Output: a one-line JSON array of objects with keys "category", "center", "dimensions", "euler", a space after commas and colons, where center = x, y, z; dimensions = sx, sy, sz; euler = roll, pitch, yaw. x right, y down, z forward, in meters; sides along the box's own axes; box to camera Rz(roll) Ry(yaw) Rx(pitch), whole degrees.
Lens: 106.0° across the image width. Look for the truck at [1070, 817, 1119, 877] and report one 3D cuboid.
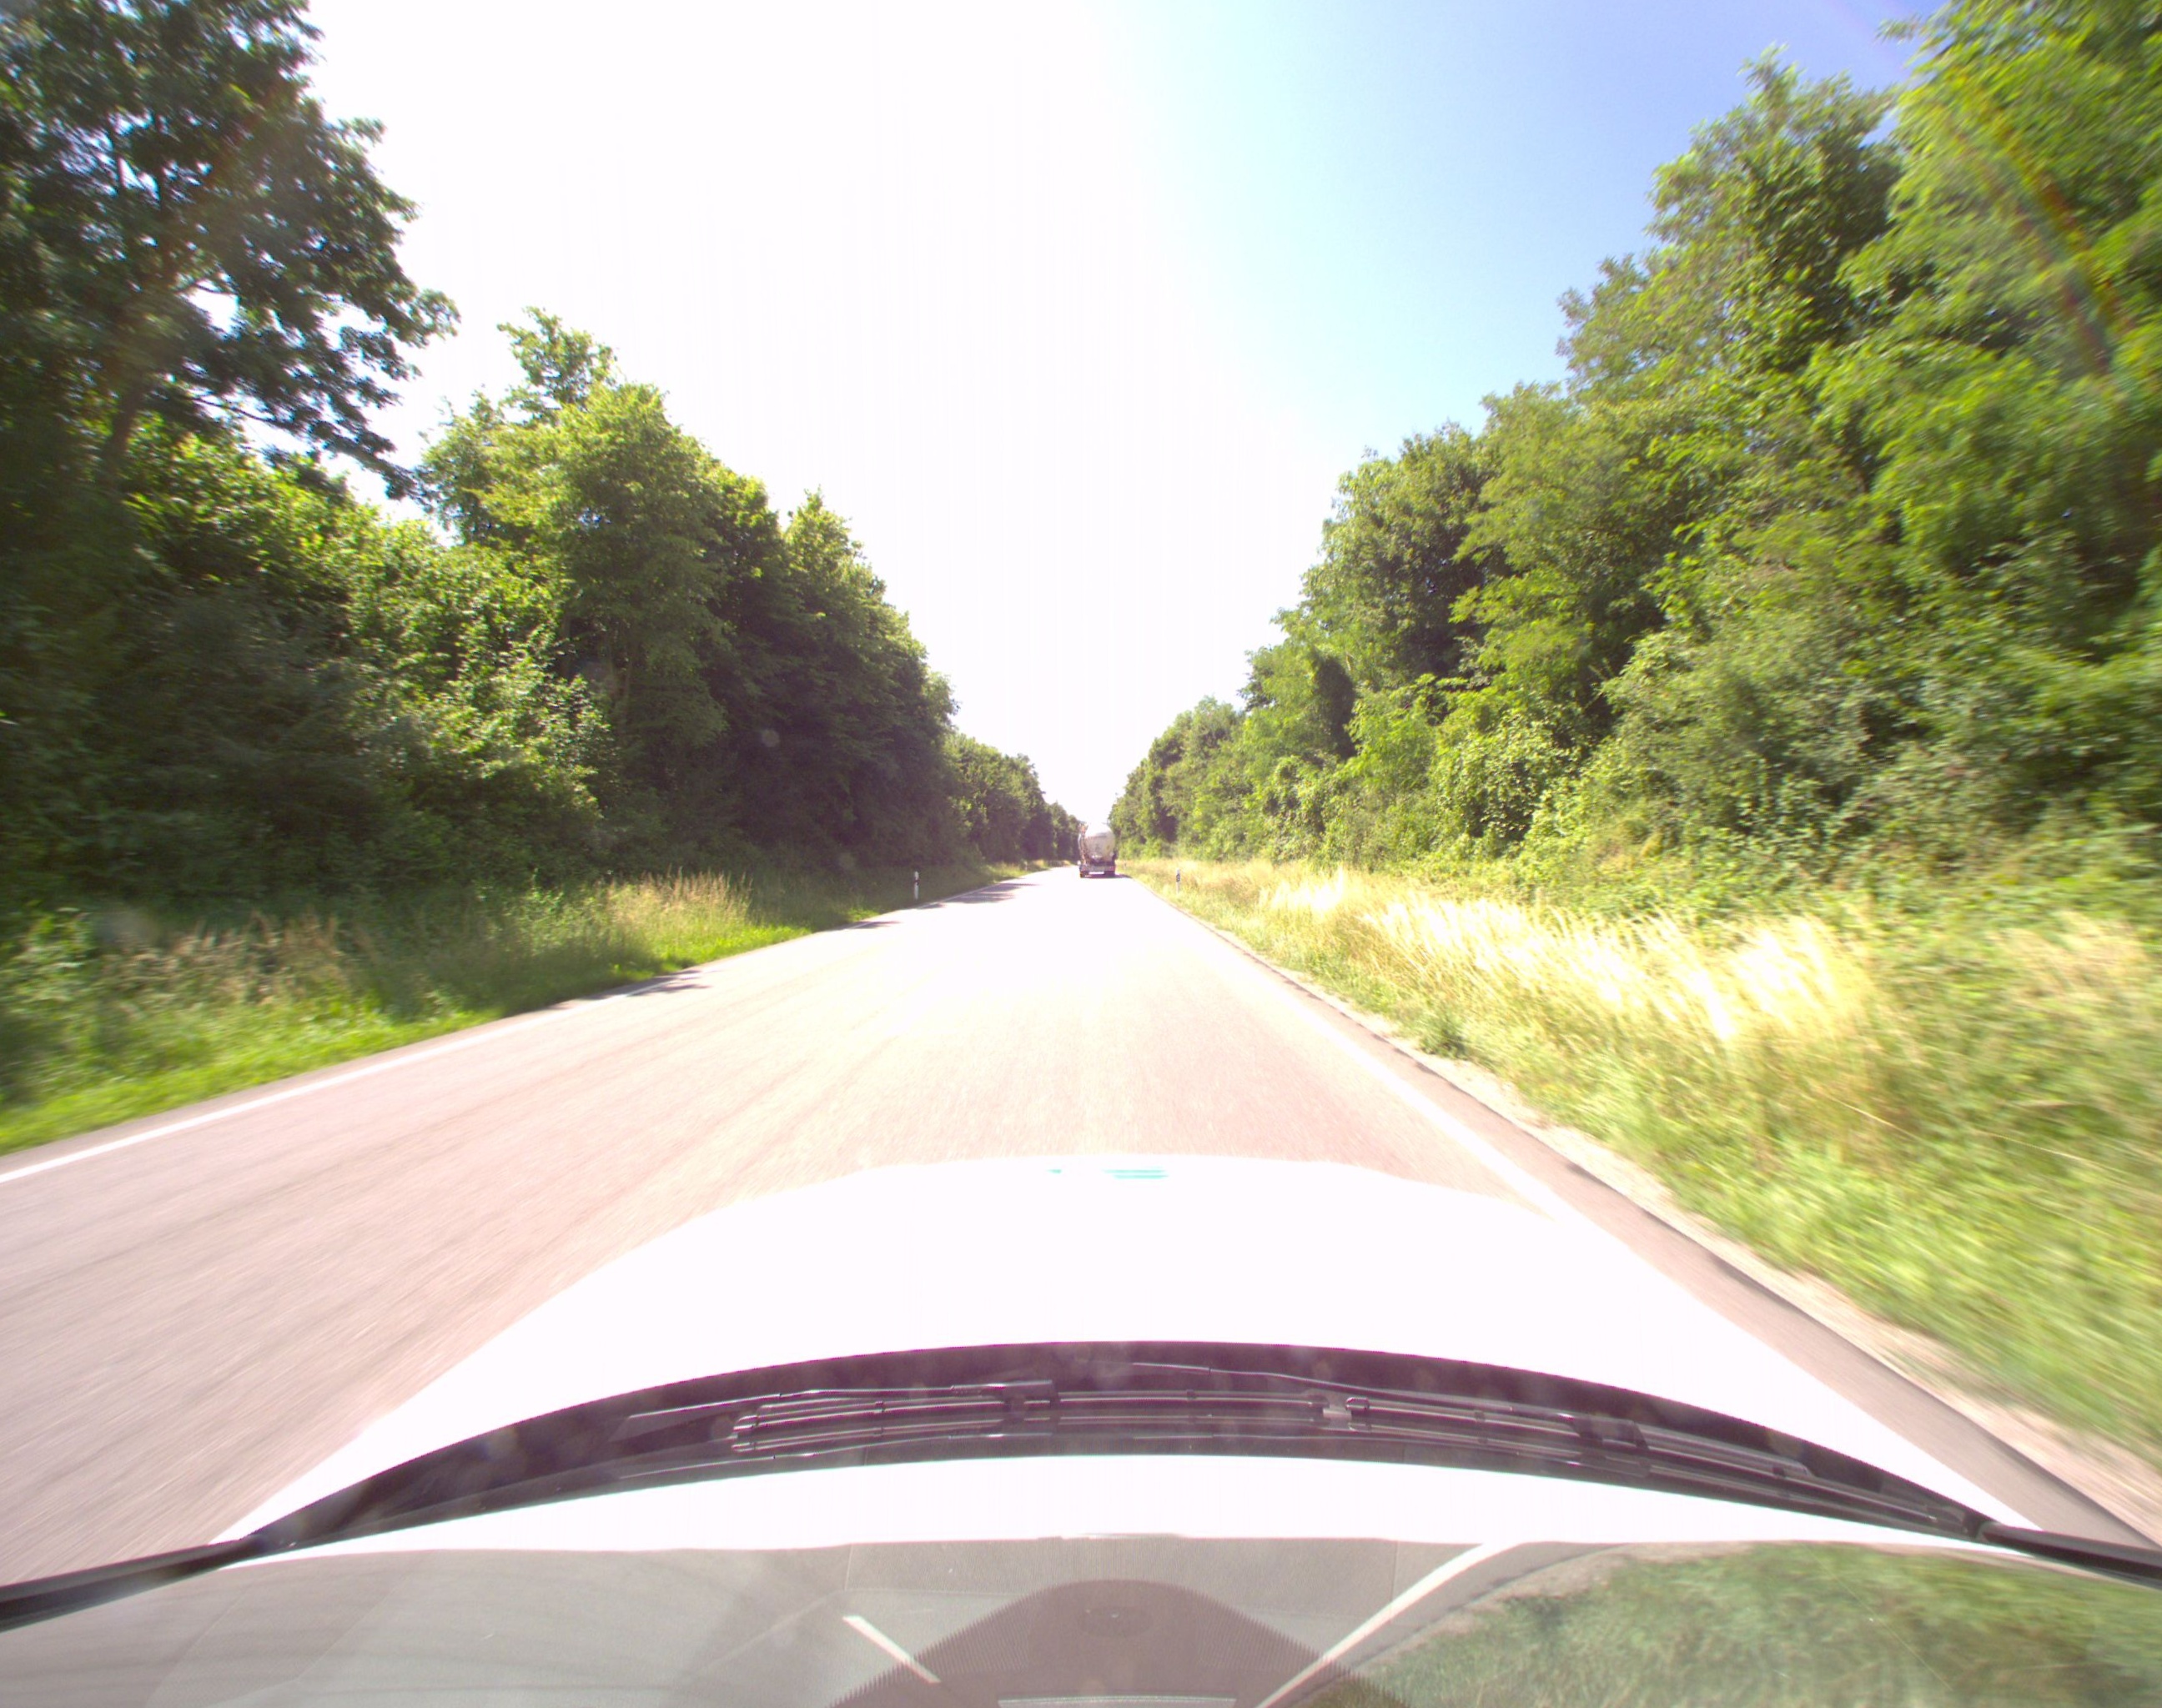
[{"category": "truck", "center": [0.802, -0.369, 62.724], "dimensions": [3.041, 3.998, 15.626], "euler": [2, -1, -1]}]
